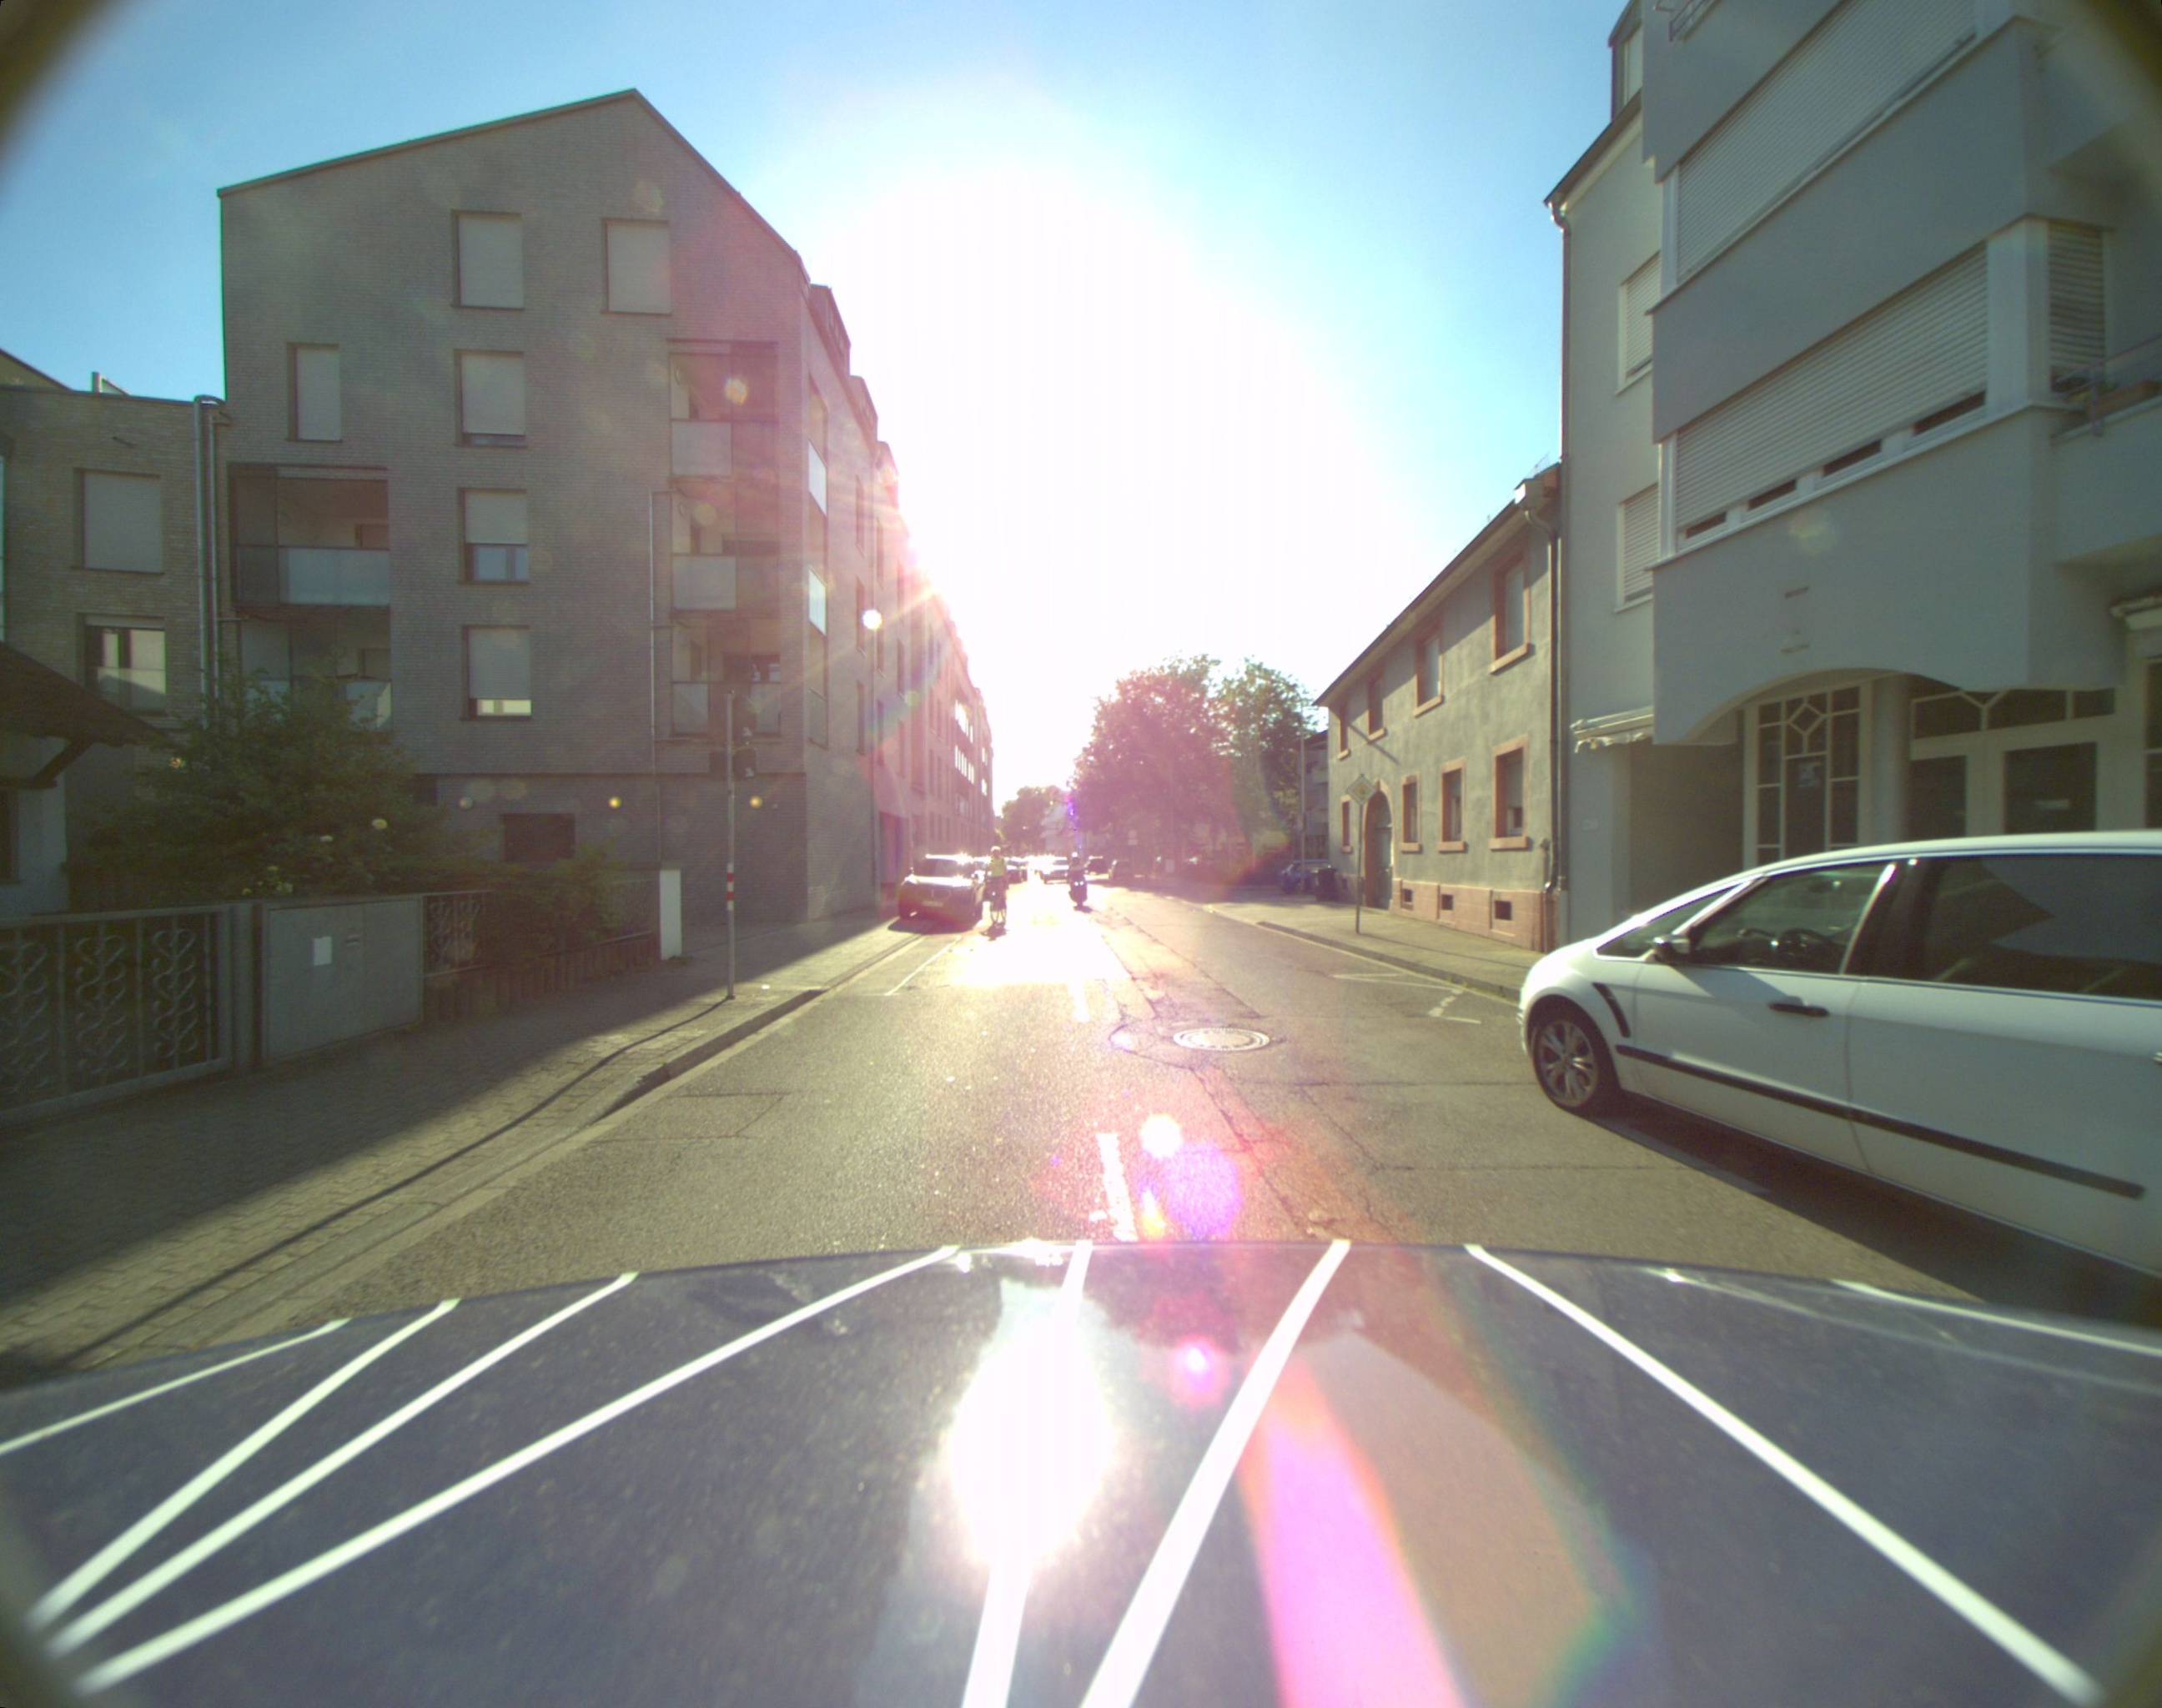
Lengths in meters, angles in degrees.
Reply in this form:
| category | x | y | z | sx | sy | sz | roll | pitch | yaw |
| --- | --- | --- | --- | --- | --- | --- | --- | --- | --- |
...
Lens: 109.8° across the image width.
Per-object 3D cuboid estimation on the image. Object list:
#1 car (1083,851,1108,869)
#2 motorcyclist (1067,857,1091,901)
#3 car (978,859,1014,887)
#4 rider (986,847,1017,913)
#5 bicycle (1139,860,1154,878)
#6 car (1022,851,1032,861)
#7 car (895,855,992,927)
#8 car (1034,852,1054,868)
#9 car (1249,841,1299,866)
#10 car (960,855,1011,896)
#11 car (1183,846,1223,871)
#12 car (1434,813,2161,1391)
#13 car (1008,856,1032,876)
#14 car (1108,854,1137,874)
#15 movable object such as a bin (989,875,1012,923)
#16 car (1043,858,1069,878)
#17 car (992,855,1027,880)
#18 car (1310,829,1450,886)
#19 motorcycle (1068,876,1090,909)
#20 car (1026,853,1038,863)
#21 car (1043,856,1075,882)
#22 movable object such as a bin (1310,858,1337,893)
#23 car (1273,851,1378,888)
| category | x | y | z | sx | sy | sz | roll | pitch | yaw |
| --- | --- | --- | --- | --- | --- | --- | --- | --- | --- |
| car | 1.472 | 0.614 | 77.580 | 1.937 | 1.695 | 5.098 | -3 | 1 | -5 |
| motorcyclist | -0.075 | 0.813 | 24.896 | 0.718 | 1.424 | 0.746 | 0 | 1 | -5 |
| car | -4.784 | 1.039 | 43.167 | 1.717 | 1.396 | 4.072 | 3 | 0 | -3 |
| rider | -1.979 | 0.623 | 18.992 | 0.655 | 1.553 | 1.082 | -3 | 2 | -5 |
| bicycle | 3.804 | 0.891 | 44.514 | 0.705 | 0.997 | 1.941 | -1 | 0 | 0 |
| car | -11.884 | 0.459 | 168.119 | 1.999 | 2.002 | 3.999 | -1 | 0 | -3 |
| car | -3.517 | 0.891 | 20.264 | 1.860 | 1.626 | 4.622 | 2 | 0 | -2 |
| car | -3.649 | 0.552 | 74.853 | 1.822 | 1.458 | 4.267 | 0 | 0 | -5 |
| car | 15.674 | -0.050 | 61.916 | 2.025 | 1.937 | 4.318 | -1 | 0 | -15 |
| car | -4.083 | 0.902 | 33.161 | 1.999 | 1.643 | 4.760 | 0 | 0 | -5 |
| car | 9.743 | 0.366 | 61.057 | 1.849 | 1.884 | 4.903 | -1 | 0 | -7 |
| car | 3.947 | 0.688 | 3.311 | 1.999 | 1.638 | 5.219 | -1 | 0 | -5 |
| car | -4.795 | 0.933 | 59.838 | 1.822 | 1.458 | 4.267 | 0 | 0 | -5 |
| car | 3.181 | 0.766 | 58.764 | 1.702 | 1.483 | 3.998 | 0 | 0 | -5 |
| movable object such as a bin | -1.997 | 1.104 | 19.033 | 0.456 | 1.027 | 1.839 | -3 | 2 | -5 |
| car | -1.923 | 1.029 | 57.422 | 1.822 | 1.458 | 4.267 | 0 | 0 | -5 |
| car | -5.003 | 0.939 | 53.830 | 1.894 | 1.702 | 4.774 | -1 | 0 | 1 |
| car | 11.187 | 0.158 | 28.618 | 4.375 | 1.783 | 1.988 | -4 | -2 | -1 |
| motorcycle | -0.080 | 1.250 | 25.082 | 0.599 | 1.004 | 1.820 | 0 | 0 | -5 |
| car | -8.925 | 0.736 | 139.349 | 2.000 | 1.666 | 3.997 | -1 | 0 | -7 |
| car | -1.456 | 0.932 | 49.040 | 1.709 | 1.570 | 3.913 | -2 | 1 | -5 |
| movable object such as a bin | 7.886 | 0.692 | 24.763 | 0.600 | 1.088 | 0.751 | -1 | 1 | -2 |
| car | 10.314 | 0.644 | 32.280 | 3.778 | 1.521 | 2.000 | 0 | 0 | -2 |
